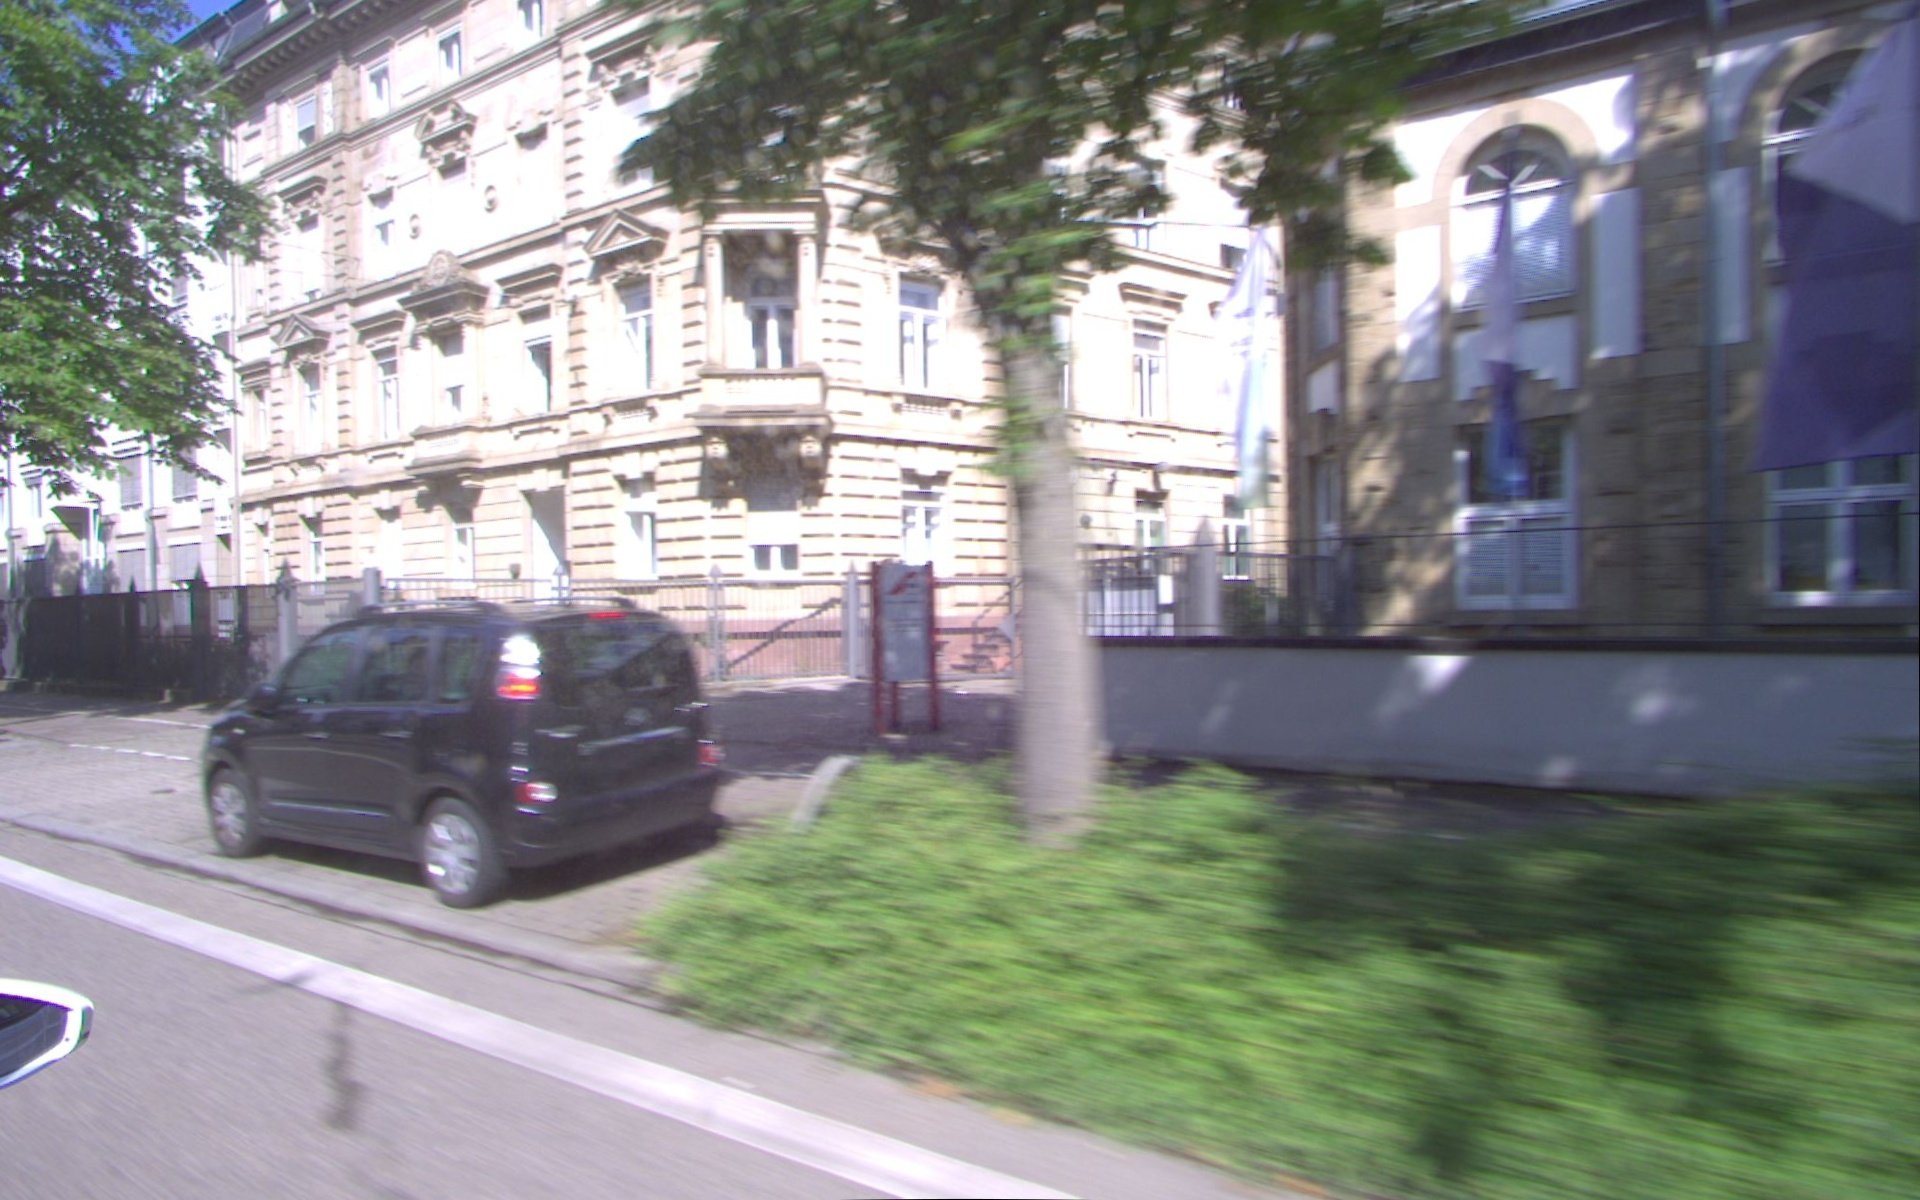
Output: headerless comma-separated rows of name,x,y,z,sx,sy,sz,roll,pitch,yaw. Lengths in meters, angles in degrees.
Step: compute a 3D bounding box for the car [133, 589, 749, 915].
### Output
car,-3.598,0.805,6.776,4.140,1.612,1.694,-1,1,30
